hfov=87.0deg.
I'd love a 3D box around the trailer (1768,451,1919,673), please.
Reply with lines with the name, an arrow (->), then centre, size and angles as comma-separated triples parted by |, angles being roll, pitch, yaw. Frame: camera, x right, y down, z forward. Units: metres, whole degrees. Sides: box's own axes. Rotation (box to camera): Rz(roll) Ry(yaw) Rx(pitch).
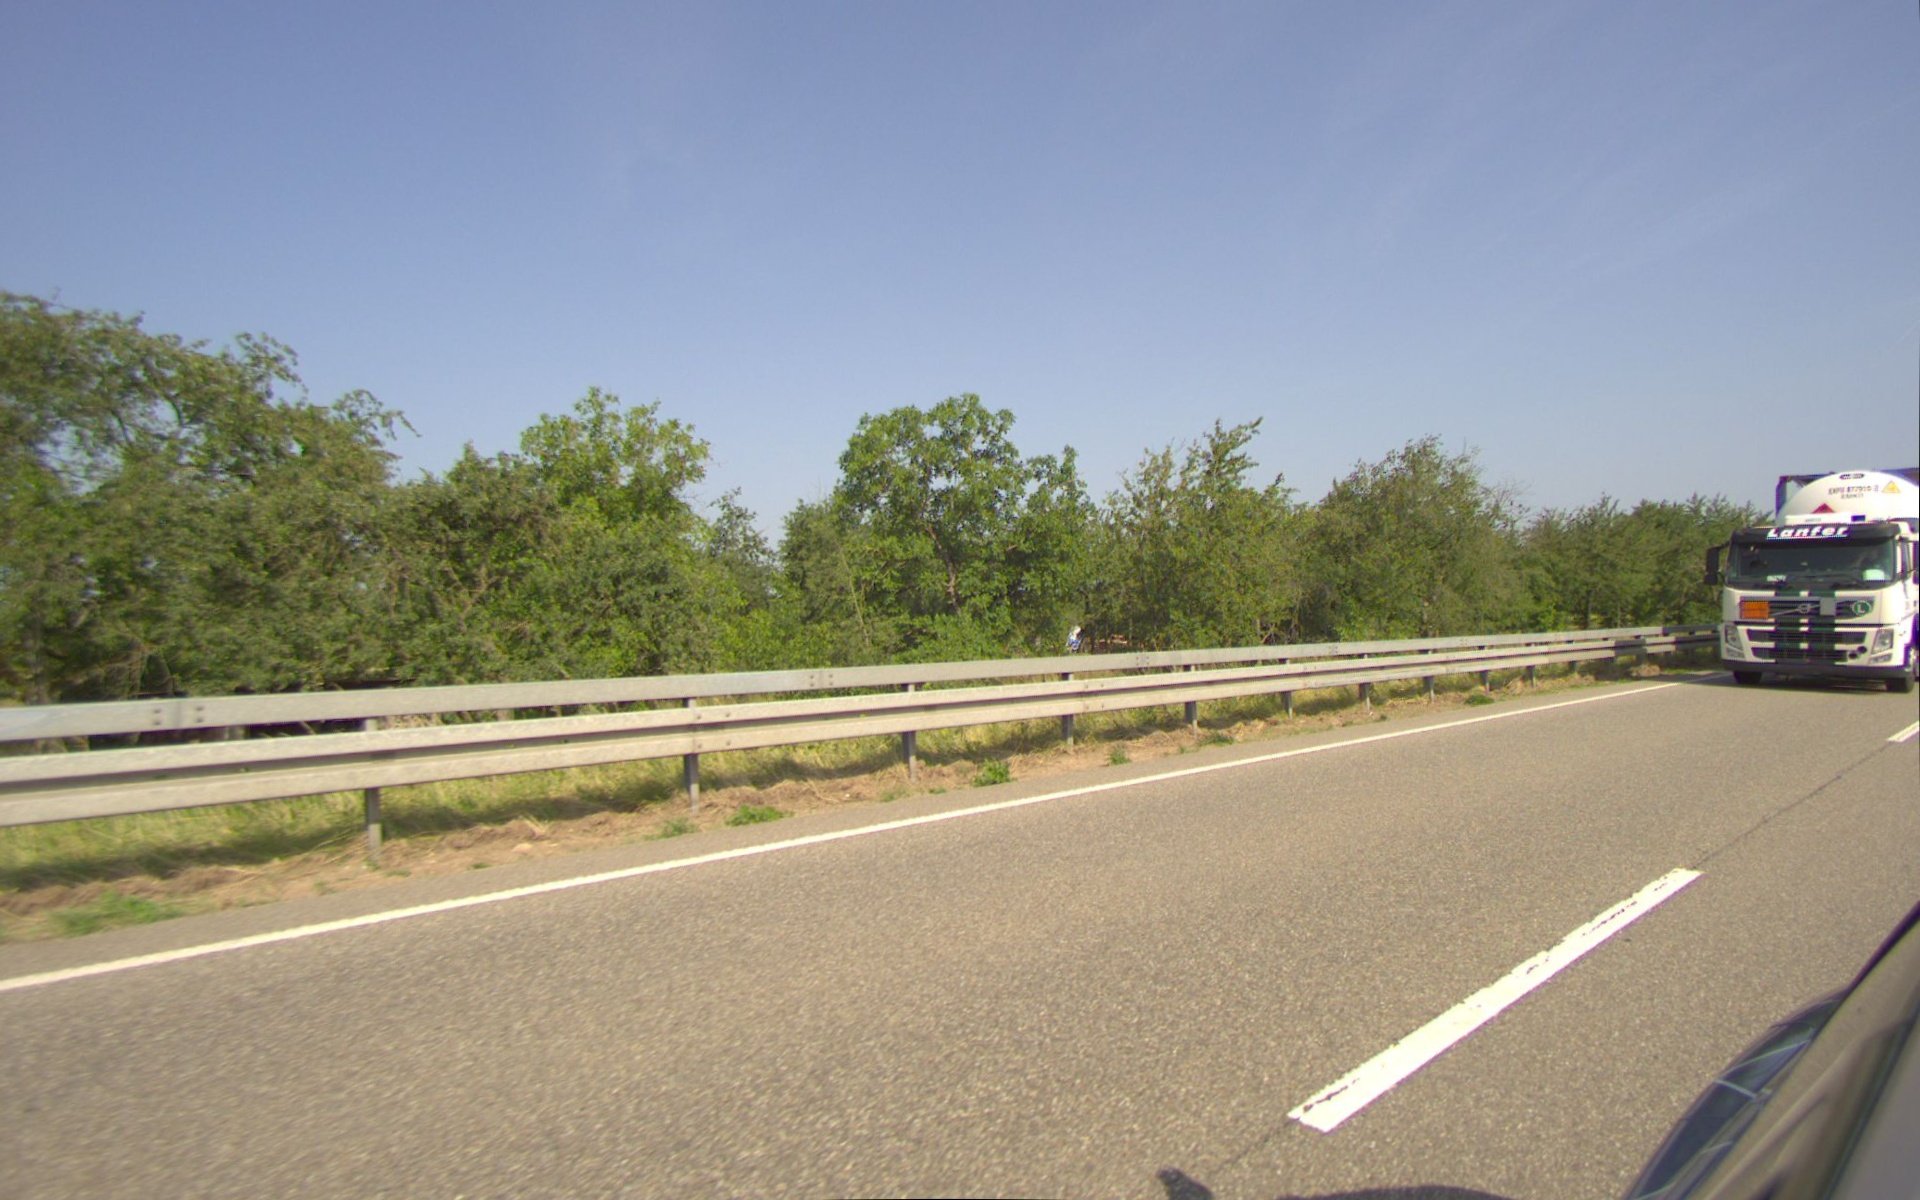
trailer -> 20.067, -0.716, 21.676 | 8.040, 4.042, 2.762 | 0, 0, -40

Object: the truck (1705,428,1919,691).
truck -> 15.924, -0.651, 18.250 | 5.527, 4.011, 2.778 | 0, 1, -40
